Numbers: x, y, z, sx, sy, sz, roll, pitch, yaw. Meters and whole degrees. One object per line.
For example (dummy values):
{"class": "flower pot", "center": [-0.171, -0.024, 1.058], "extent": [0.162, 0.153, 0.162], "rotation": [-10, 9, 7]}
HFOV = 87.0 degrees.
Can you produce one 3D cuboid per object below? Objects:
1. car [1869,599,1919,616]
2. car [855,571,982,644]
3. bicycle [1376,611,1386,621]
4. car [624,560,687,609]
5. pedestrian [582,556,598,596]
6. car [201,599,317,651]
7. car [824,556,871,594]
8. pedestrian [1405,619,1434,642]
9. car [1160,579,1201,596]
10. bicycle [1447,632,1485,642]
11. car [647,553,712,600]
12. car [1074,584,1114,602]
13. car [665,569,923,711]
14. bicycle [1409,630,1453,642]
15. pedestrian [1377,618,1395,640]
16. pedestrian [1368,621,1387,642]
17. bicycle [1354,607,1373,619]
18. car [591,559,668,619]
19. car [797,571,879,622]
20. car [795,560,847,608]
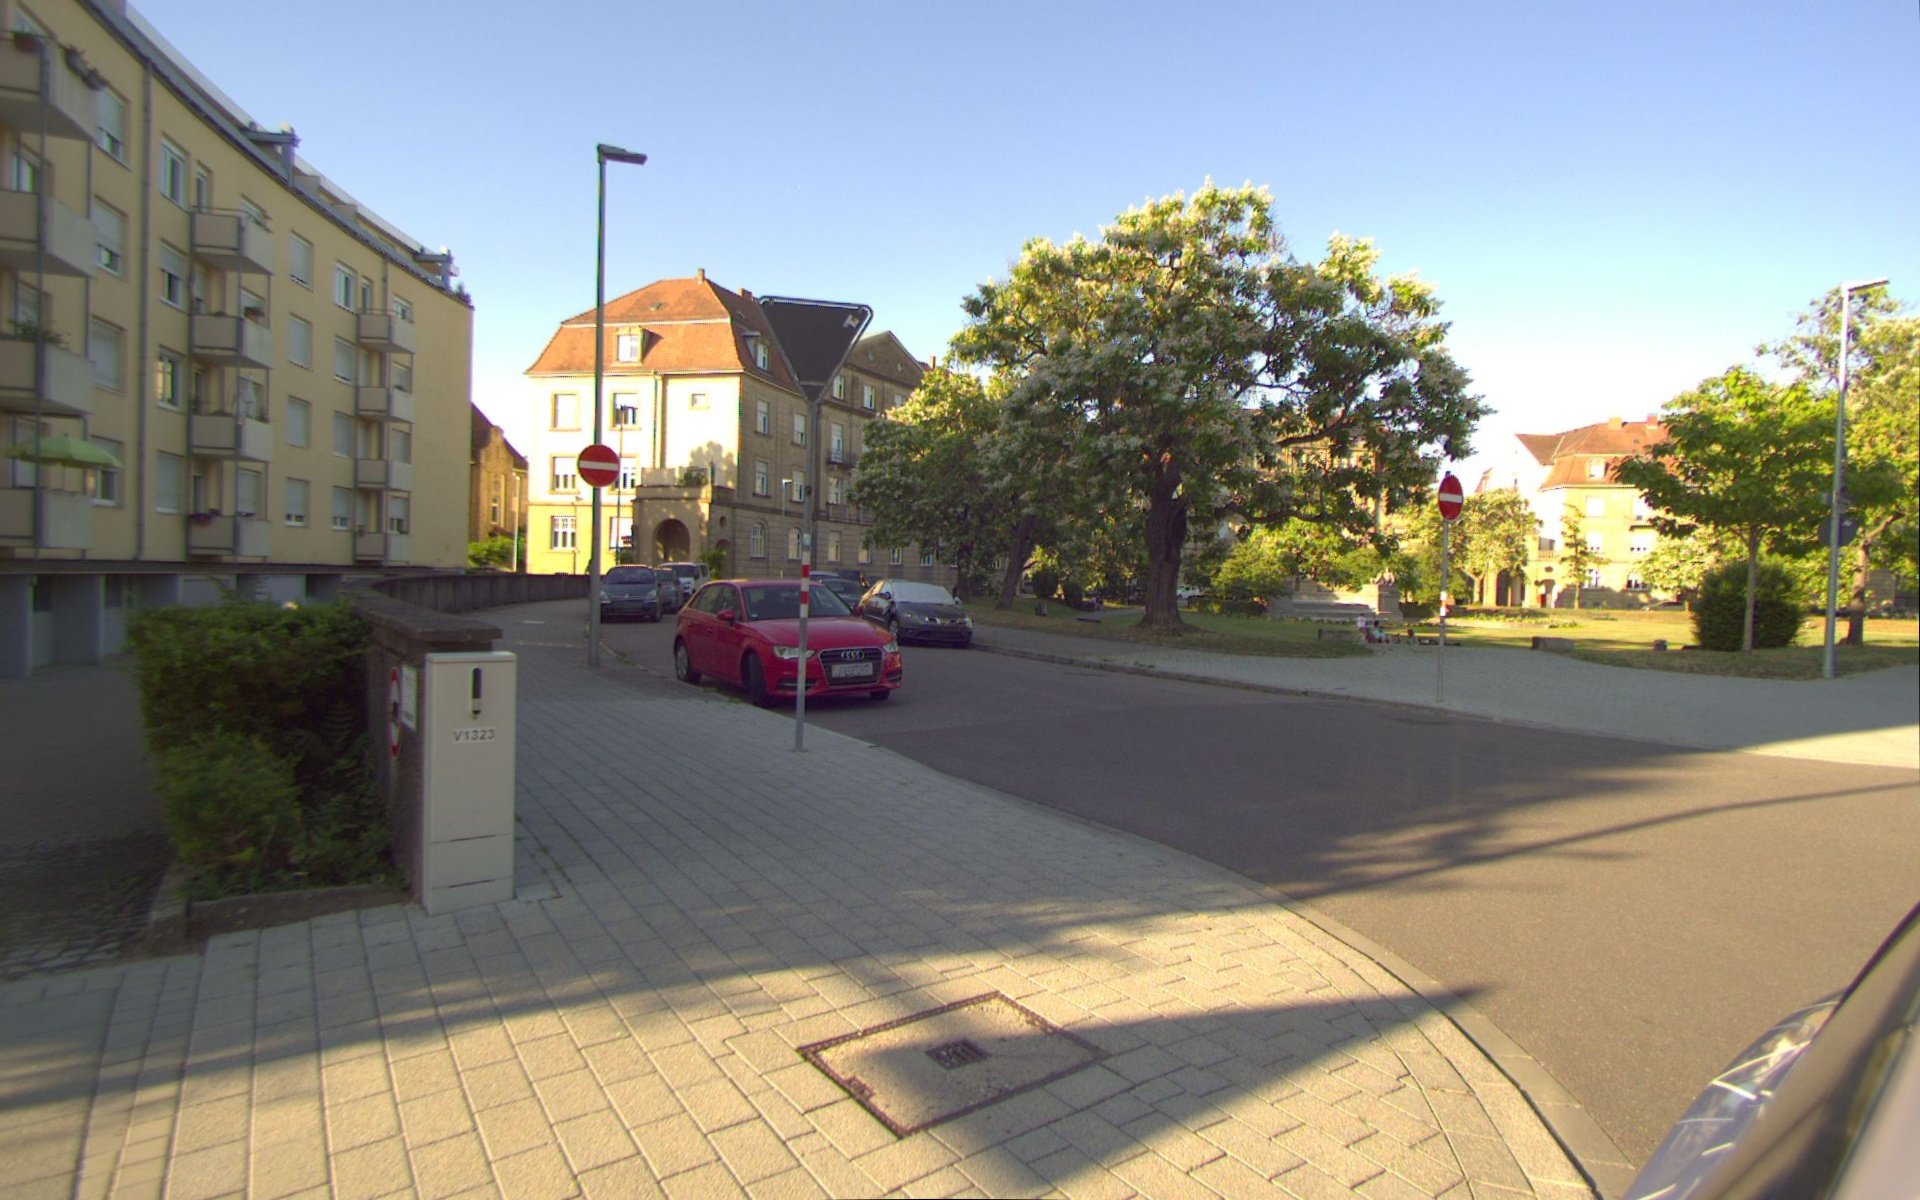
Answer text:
{"class": "car", "center": [86.063, 0.688, 92.914], "extent": [3.681, 1.517, 1.704], "rotation": [1, 0, 35]}
{"class": "car", "center": [-1.039, 0.135, 22.996], "extent": [1.690, 1.445, 4.008], "rotation": [2, 0, -20]}
{"class": "bicycle", "center": [23.837, 0.905, 57.284], "extent": [0.480, 0.590, 0.437], "rotation": [1, 0, 14]}
{"class": "car", "center": [-10.553, -0.581, 35.310], "extent": [1.671, 1.596, 4.055], "rotation": [-1, 2, -11]}
{"class": "pedestrian", "center": [-14.995, -0.985, 41.053], "extent": [0.496, 1.612, 0.527], "rotation": [1, 0, -9]}
{"class": "car", "center": [-19.293, 0.645, 28.023], "extent": [1.608, 1.296, 3.379], "rotation": [1, 1, -16]}
{"class": "car", "center": [-5.639, -1.214, 51.094], "extent": [1.695, 1.779, 3.700], "rotation": [2, 0, 4]}
{"class": "pedestrian", "center": [16.740, 1.117, 36.876], "extent": [0.795, 0.774, 0.498], "rotation": [2, 0, 2]}
{"class": "car", "center": [21.035, -1.195, 96.634], "extent": [3.630, 1.518, 1.728], "rotation": [2, 0, -31]}
{"class": "bicycle", "center": [20.111, 1.462, 40.209], "extent": [1.671, 0.323, 0.659], "rotation": [0, 2, -35]}
{"class": "car", "center": [-11.476, -0.936, 41.620], "extent": [1.673, 1.818, 4.049], "rotation": [1, 1, -2]}
{"class": "car", "center": [12.106, -0.654, 91.292], "extent": [1.769, 1.603, 3.941], "rotation": [1, 1, 41]}
{"class": "car", "center": [-2.236, 0.357, 12.649], "extent": [1.755, 1.437, 4.050], "rotation": [-2, 2, -32]}
{"class": "bicycle", "center": [18.044, 1.386, 38.744], "extent": [1.895, 0.387, 0.660], "rotation": [0, 2, -35]}
{"class": "pedestrian", "center": [16.390, 1.111, 38.947], "extent": [0.488, 0.845, 0.455], "rotation": [1, 0, -4]}
{"class": "pedestrian", "center": [15.248, 1.143, 36.957], "extent": [0.447, 0.756, 0.497], "rotation": [1, 0, -41]}
{"class": "bicycle", "center": [22.951, 0.723, 57.576], "extent": [0.892, 0.660, 0.437], "rotation": [1, 0, 14]}
{"class": "car", "center": [-9.490, -0.369, 29.304], "extent": [1.671, 1.596, 4.055], "rotation": [-1, 2, -12]}
{"class": "car", "center": [-3.598, -0.107, 29.392], "extent": [1.690, 1.313, 3.712], "rotation": [2, 0, -17]}
{"class": "car", "center": [-5.261, -0.579, 38.038], "extent": [1.690, 1.648, 3.711], "rotation": [2, 0, -11]}
